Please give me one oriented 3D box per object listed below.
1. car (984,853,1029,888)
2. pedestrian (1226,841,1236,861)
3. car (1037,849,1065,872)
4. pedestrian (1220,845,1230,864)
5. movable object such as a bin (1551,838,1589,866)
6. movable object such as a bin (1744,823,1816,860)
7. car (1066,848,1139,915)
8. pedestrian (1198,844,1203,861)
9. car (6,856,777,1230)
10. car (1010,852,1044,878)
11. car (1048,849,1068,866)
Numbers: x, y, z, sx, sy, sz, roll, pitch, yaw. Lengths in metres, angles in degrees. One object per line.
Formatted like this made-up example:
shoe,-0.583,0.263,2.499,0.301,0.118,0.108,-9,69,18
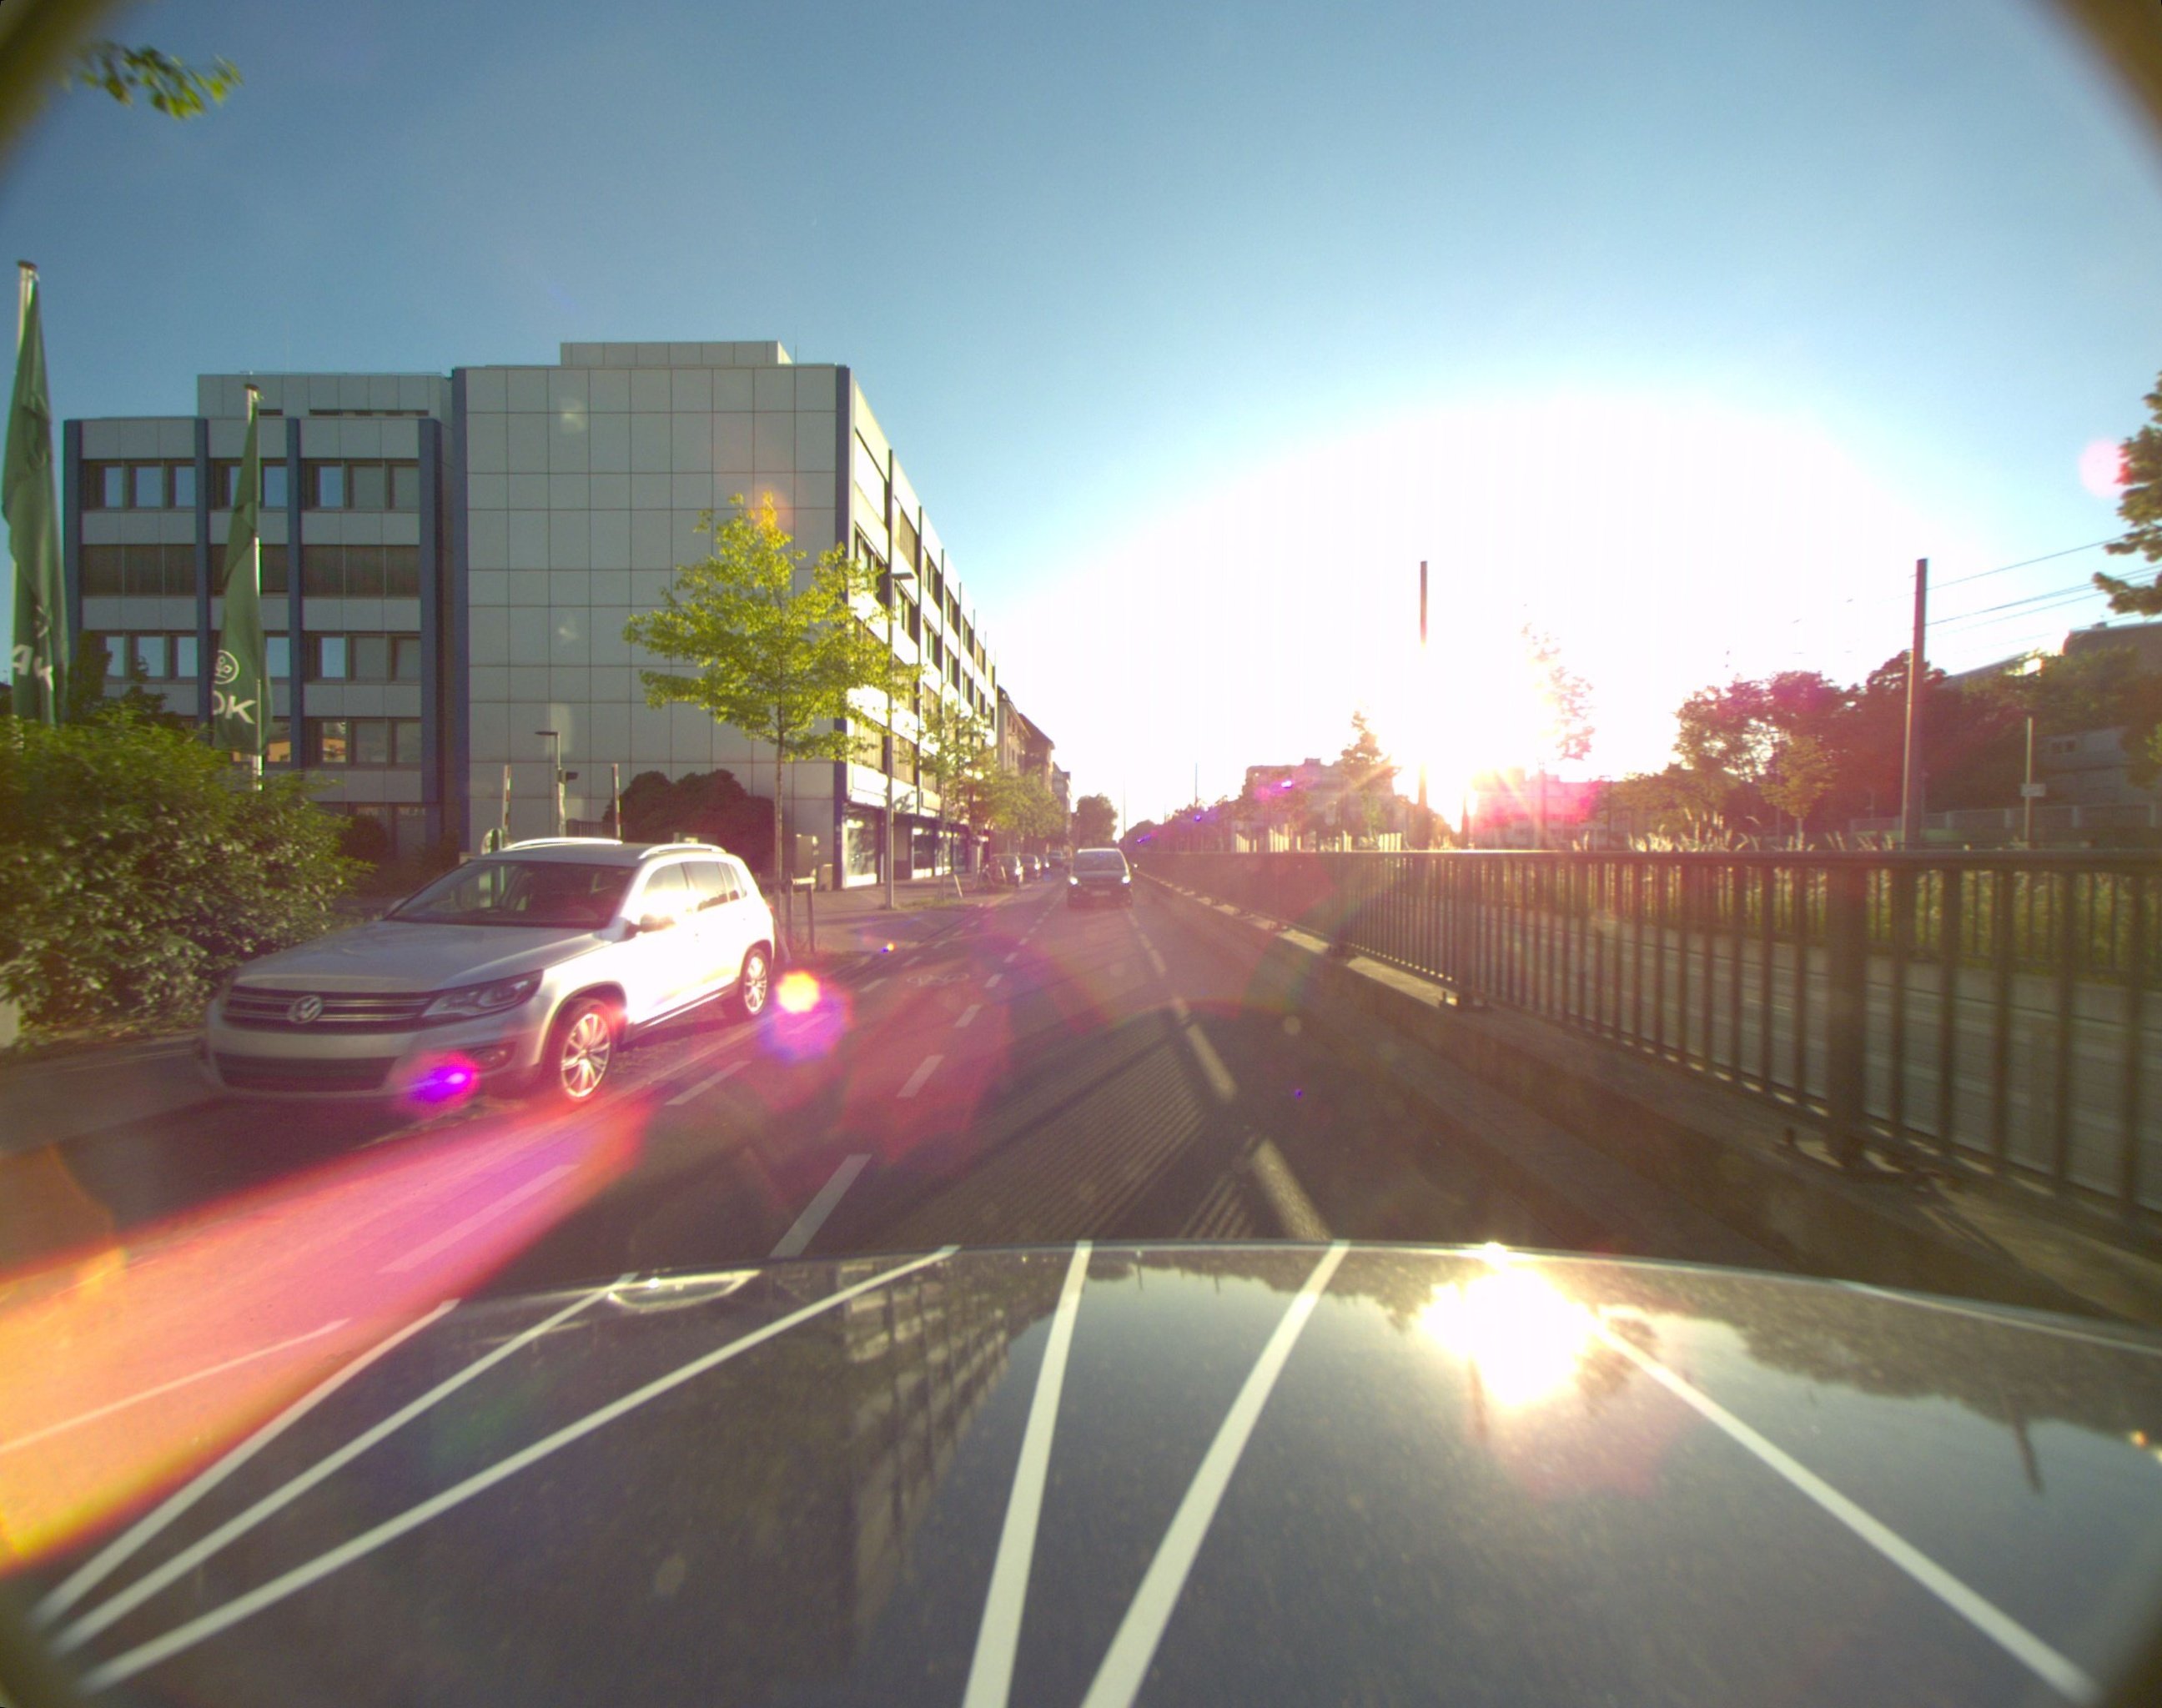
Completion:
car,-3.380,0.729,35.078,1.824,1.446,4.127,1,1,-3
pedestrian,12.626,-0.247,63.890,0.636,1.719,0.635,0,1,-11
car,-2.165,0.437,55.475,1.824,1.557,4.809,3,0,-1
pedestrian,13.144,0.028,69.290,0.727,1.734,0.636,-1,0,-7
movable object such as a bin,49.663,-0.213,77.253,1.996,2.690,4.004,0,1,14
movable object such as a bin,53.845,-0.943,58.672,1.998,2.690,4.001,0,1,3
car,0.546,0.678,21.260,1.800,1.609,4.386,-1,1,0
pedestrian,12.519,-0.127,79.560,0.472,1.776,0.626,0,1,8
car,-4.018,0.875,5.632,1.859,1.697,4.253,0,0,-1
car,-3.180,0.639,45.322,1.688,1.446,4.129,1,1,0
car,-2.376,0.318,77.990,1.761,1.644,4.528,2,0,1
